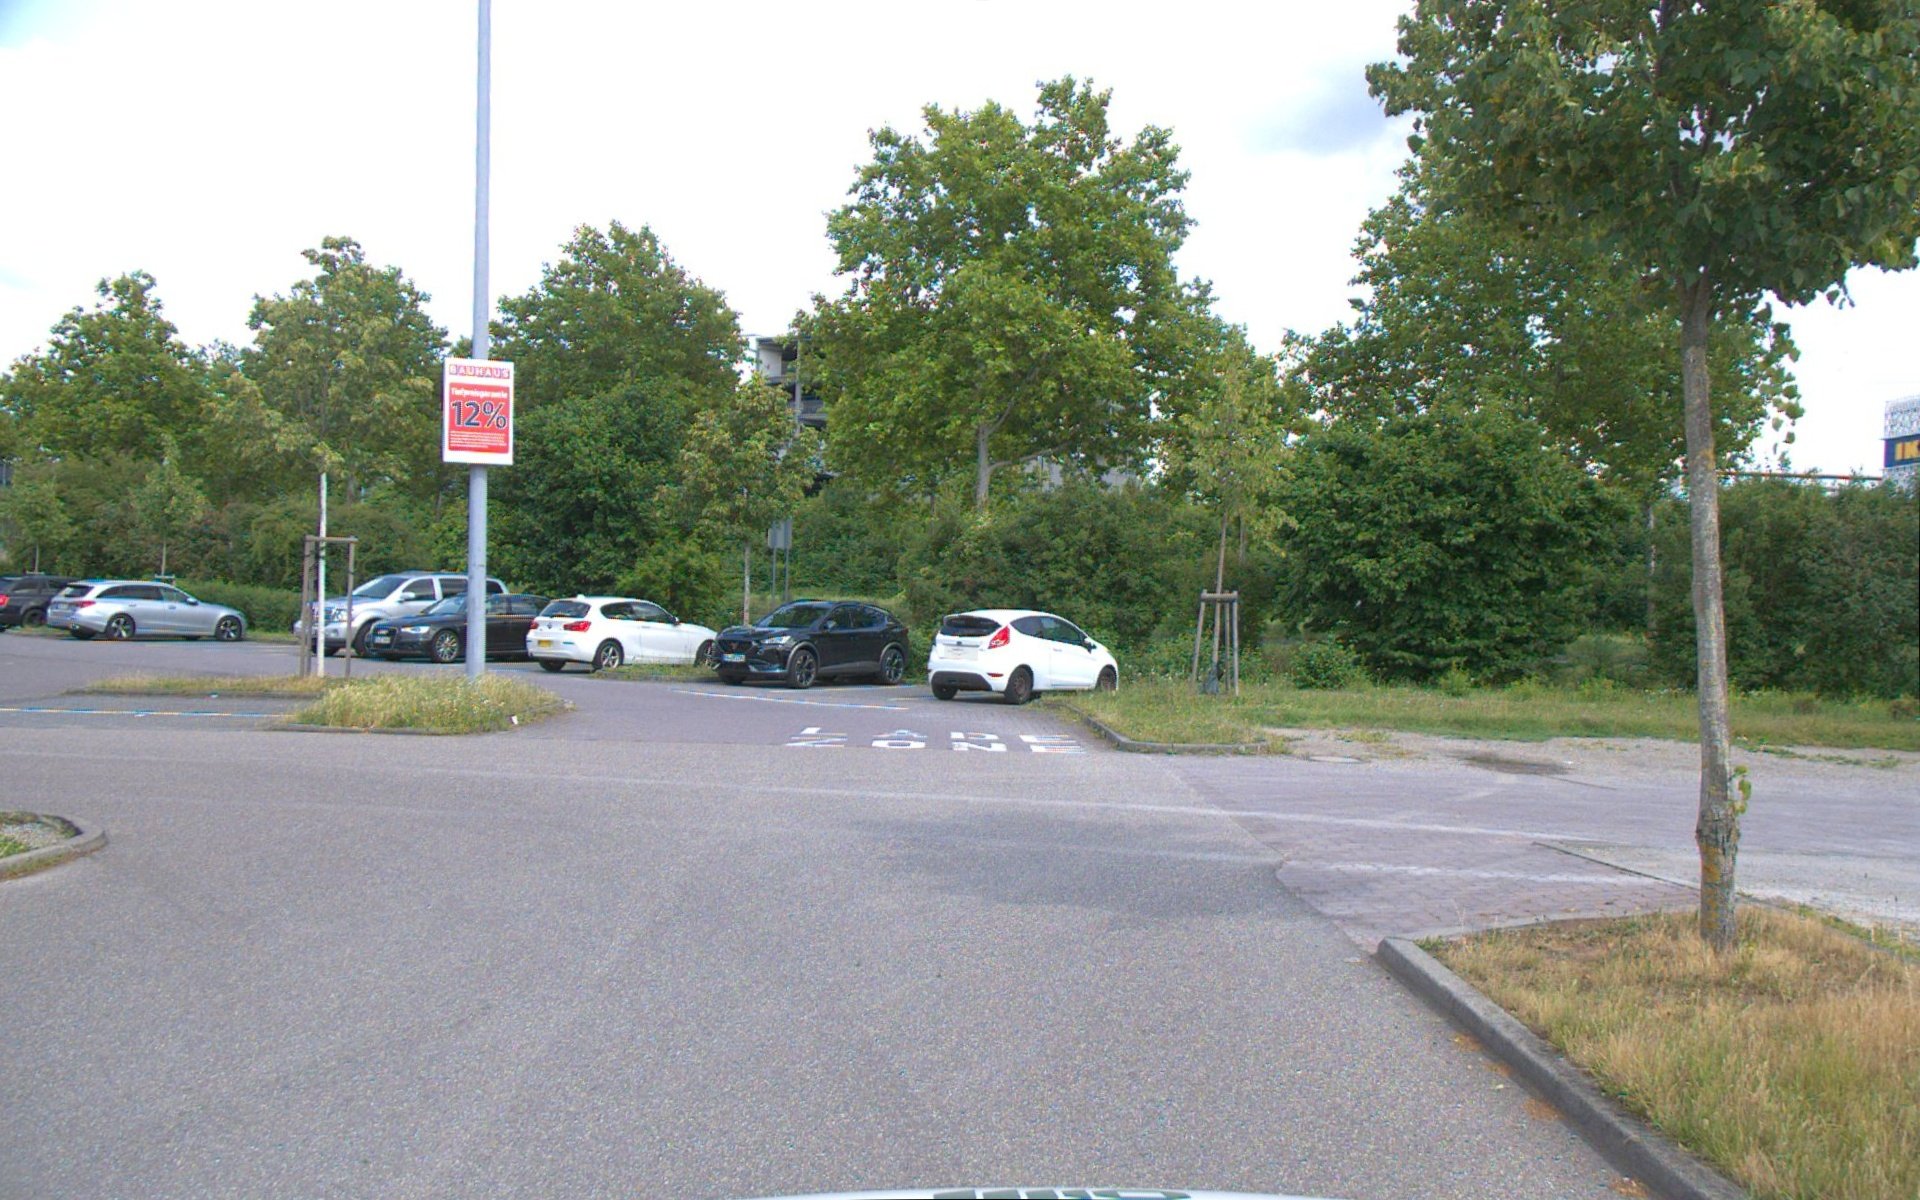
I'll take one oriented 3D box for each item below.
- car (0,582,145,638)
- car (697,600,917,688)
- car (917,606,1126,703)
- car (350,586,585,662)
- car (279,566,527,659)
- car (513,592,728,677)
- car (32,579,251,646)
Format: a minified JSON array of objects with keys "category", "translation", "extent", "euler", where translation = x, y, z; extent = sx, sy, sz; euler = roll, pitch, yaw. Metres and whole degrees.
[{"category":"car","translation":[-24.145,0.284,44.212],"extent":[1.663,1.405,3.990],"euler":[-1,-1,32]},{"category":"car","translation":[-2.690,0.758,30.020],"extent":[1.697,1.435,4.230],"euler":[2,0,33]},{"category":"car","translation":[1.062,0.853,27.072],"extent":[1.638,1.436,3.541],"euler":[2,0,38]},{"category":"car","translation":[-10.374,0.497,35.167],"extent":[1.802,1.476,4.709],"euler":[2,0,34]},{"category":"car","translation":[-12.244,0.272,36.718],"extent":[1.949,1.875,5.134],"euler":[2,0,32]},{"category":"car","translation":[-6.568,0.656,32.357],"extent":[1.657,1.536,4.065],"euler":[0,-1,36]},{"category":"car","translation":[-20.252,0.322,41.117],"extent":[1.747,1.531,4.641],"euler":[2,0,33]}]
